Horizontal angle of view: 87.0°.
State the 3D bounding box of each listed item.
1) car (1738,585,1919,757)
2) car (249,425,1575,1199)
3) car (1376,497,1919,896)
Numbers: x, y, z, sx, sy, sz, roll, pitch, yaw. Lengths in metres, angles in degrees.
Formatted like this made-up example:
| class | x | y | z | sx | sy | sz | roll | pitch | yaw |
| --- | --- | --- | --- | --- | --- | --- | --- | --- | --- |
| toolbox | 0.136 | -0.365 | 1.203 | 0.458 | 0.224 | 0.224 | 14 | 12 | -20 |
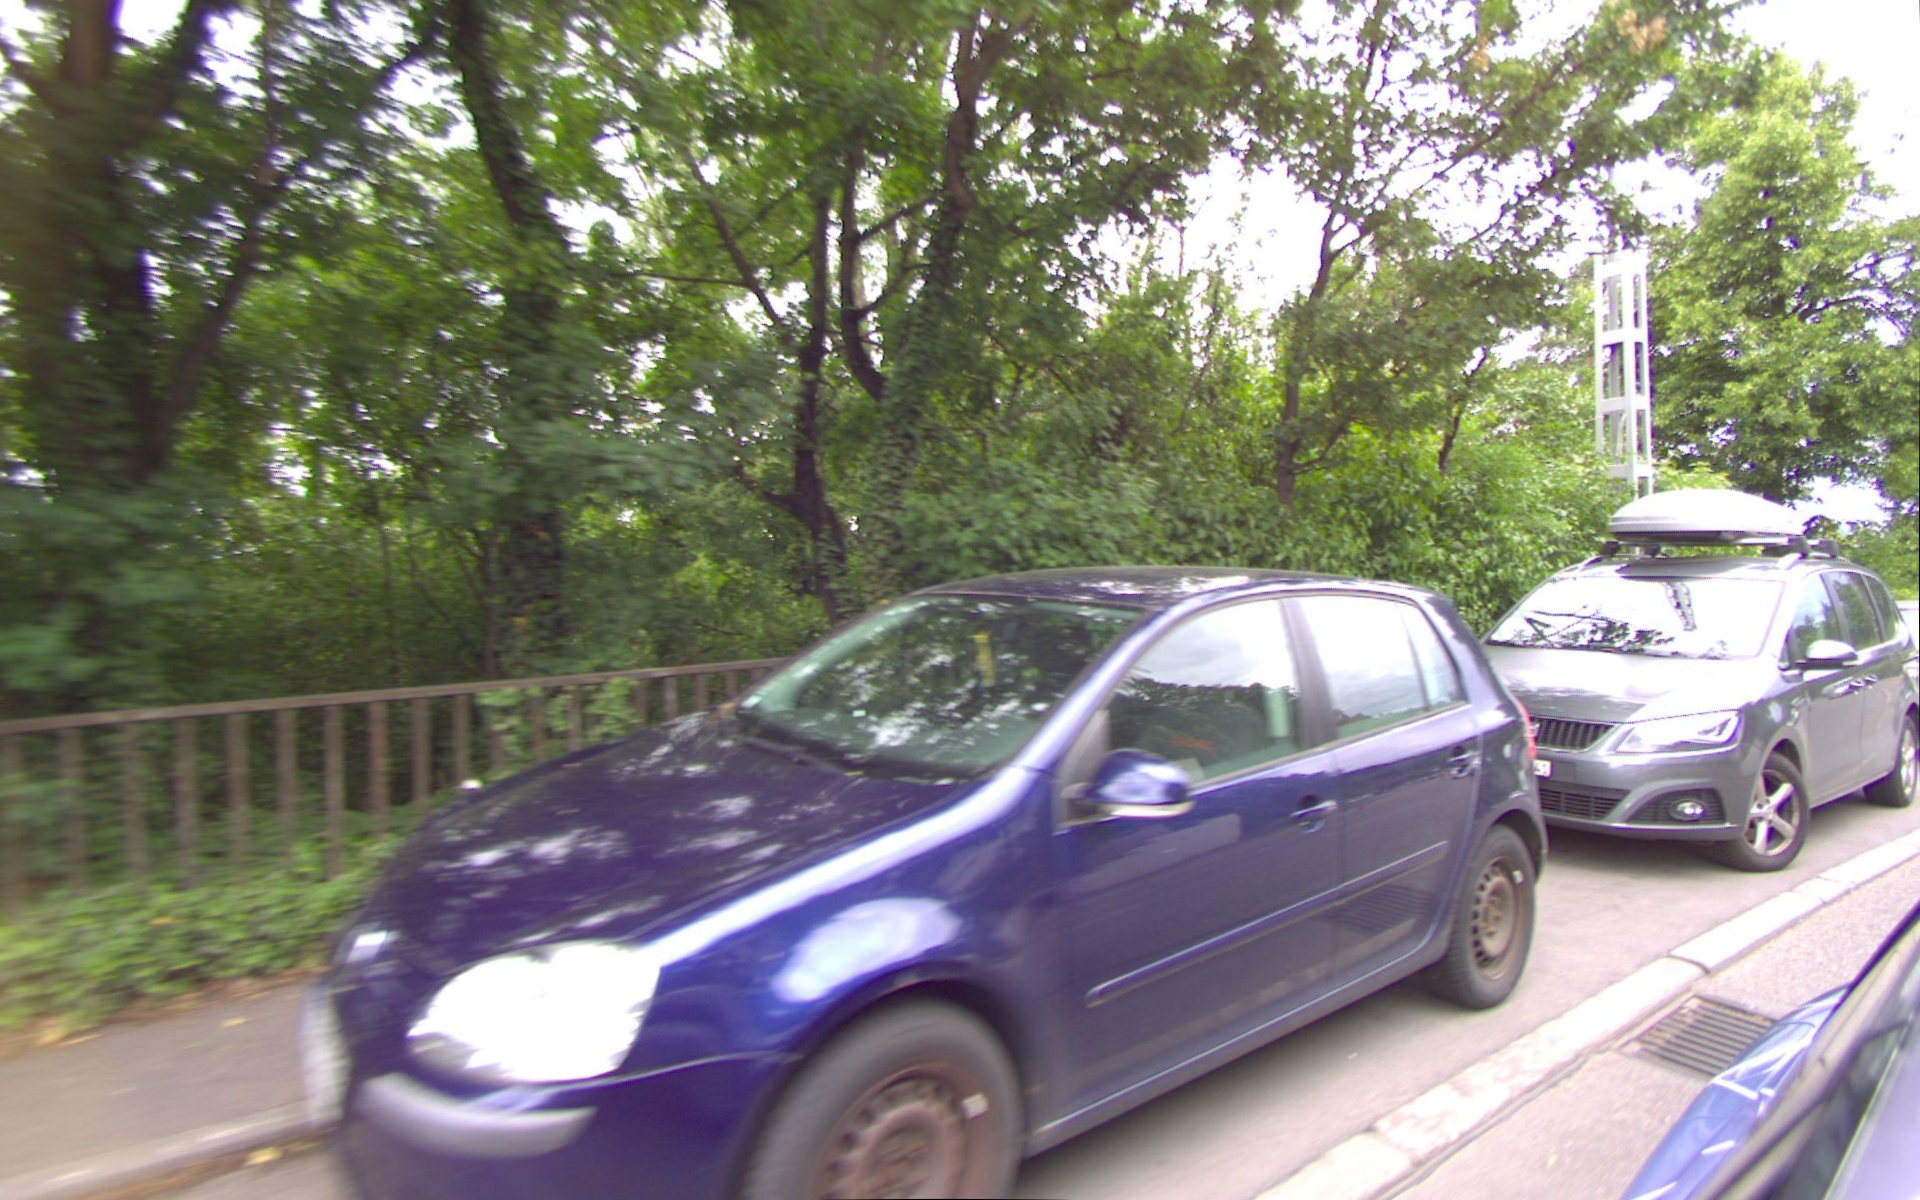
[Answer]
| class | x | y | z | sx | sy | sz | roll | pitch | yaw |
| --- | --- | --- | --- | --- | --- | --- | --- | --- | --- |
| car | 9.802 | 0.601 | 10.103 | 3.918 | 1.482 | 1.649 | 0 | 0 | -26 |
| car | 0.237 | 0.528 | 3.183 | 3.962 | 1.506 | 1.663 | 0 | 0 | -39 |
| car | 4.812 | 0.432 | 6.650 | 4.521 | 1.794 | 1.803 | 0 | 0 | -37 |
